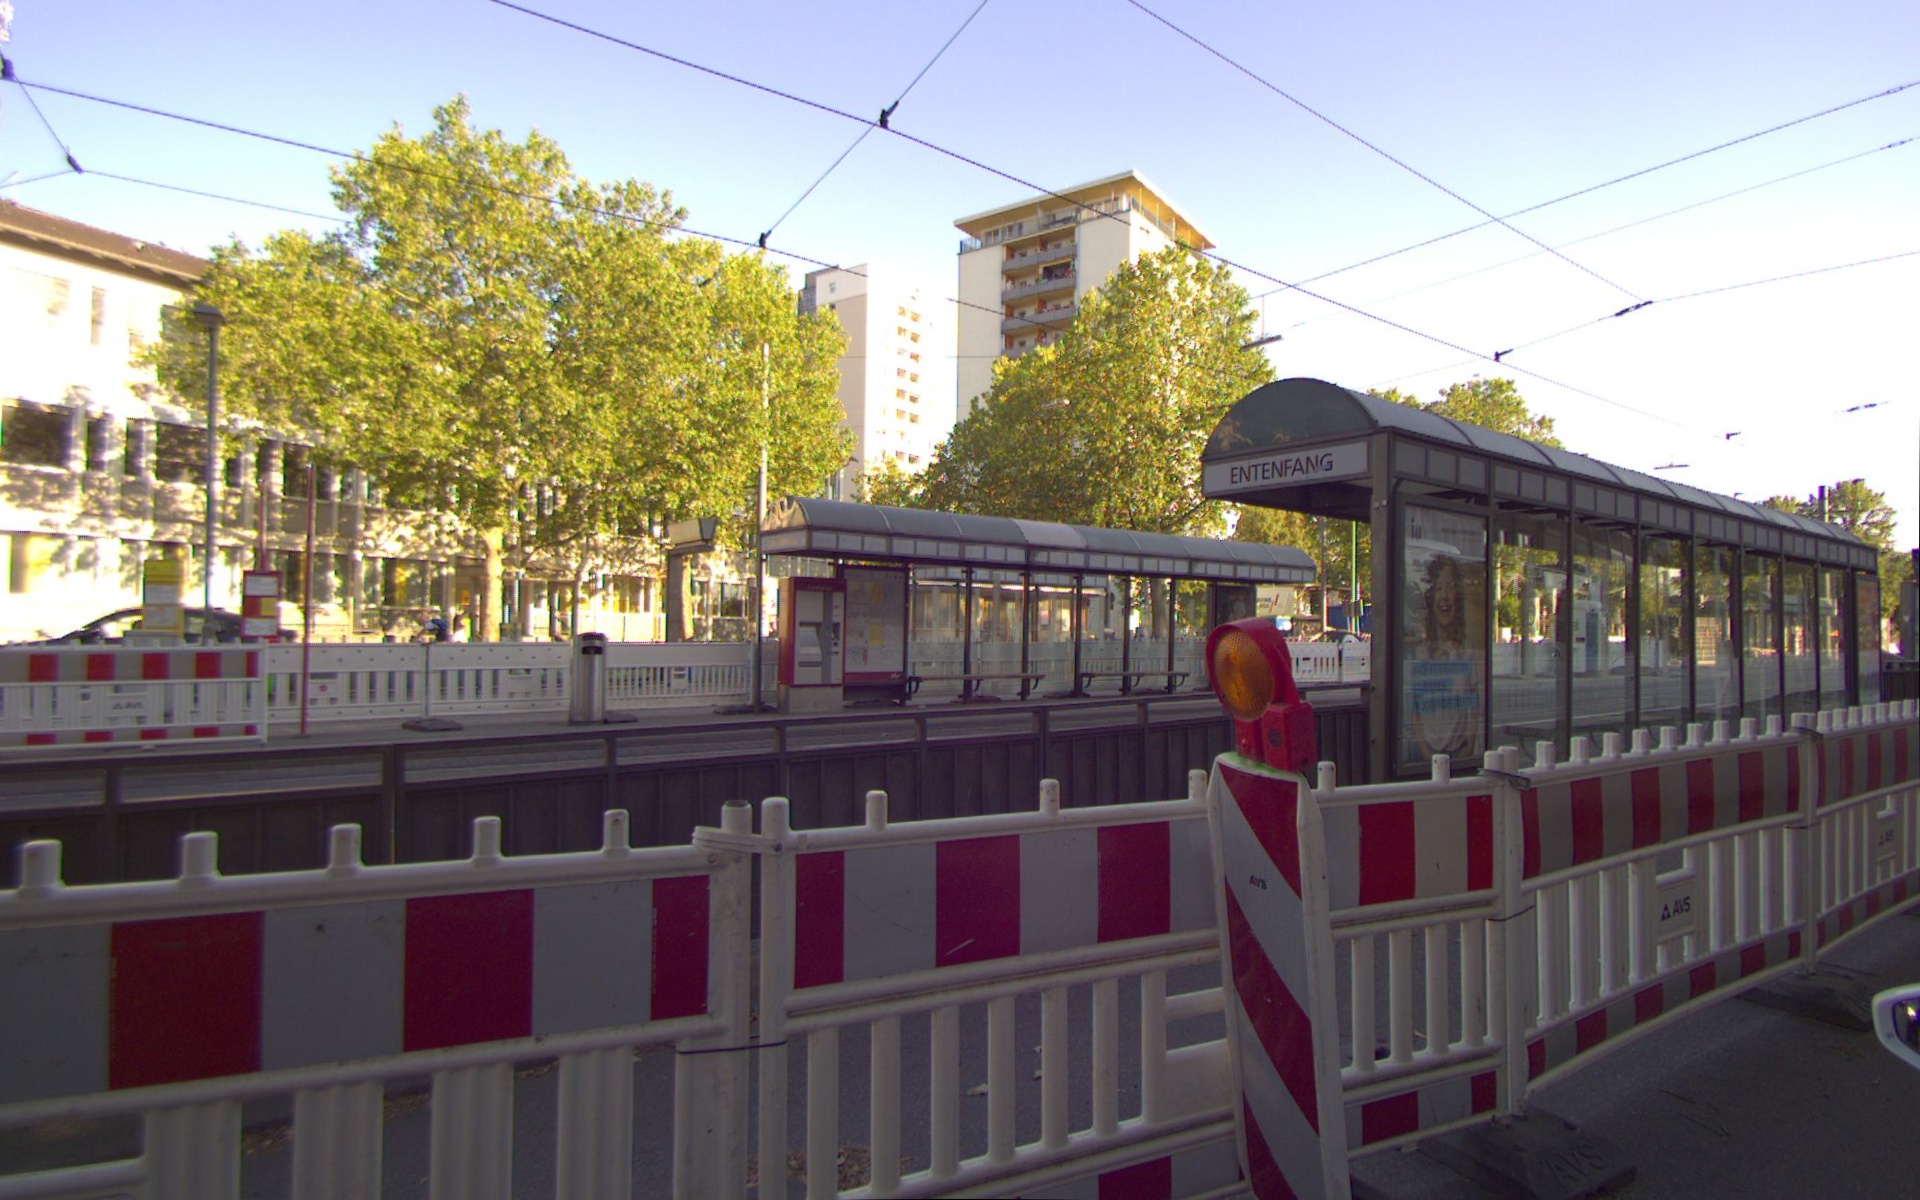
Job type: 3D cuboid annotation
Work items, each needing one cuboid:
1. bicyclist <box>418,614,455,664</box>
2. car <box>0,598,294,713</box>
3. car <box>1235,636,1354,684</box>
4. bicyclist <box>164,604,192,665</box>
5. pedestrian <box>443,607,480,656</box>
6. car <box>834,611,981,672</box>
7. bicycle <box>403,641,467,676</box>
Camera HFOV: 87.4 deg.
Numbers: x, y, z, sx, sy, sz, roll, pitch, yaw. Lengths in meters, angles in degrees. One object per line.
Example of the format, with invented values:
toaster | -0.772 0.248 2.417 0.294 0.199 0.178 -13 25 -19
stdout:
bicyclist | -13.837 1.028 26.540 0.801 1.314 0.459 2 -1 -35
car | -13.788 0.869 16.599 4.544 1.689 1.881 2 0 -37
car | 12.750 2.245 38.192 4.642 1.676 1.935 1 -2 -35
bicyclist | -18.300 0.811 23.523 0.460 1.414 0.459 1 -1 -35
pedestrian | -18.135 1.151 36.534 0.793 1.751 0.884 0 -1 30
car | -1.396 1.115 27.269 3.739 1.532 1.646 2 -2 -38
bicycle | -13.853 1.531 26.527 1.451 0.907 0.459 2 -2 -35
